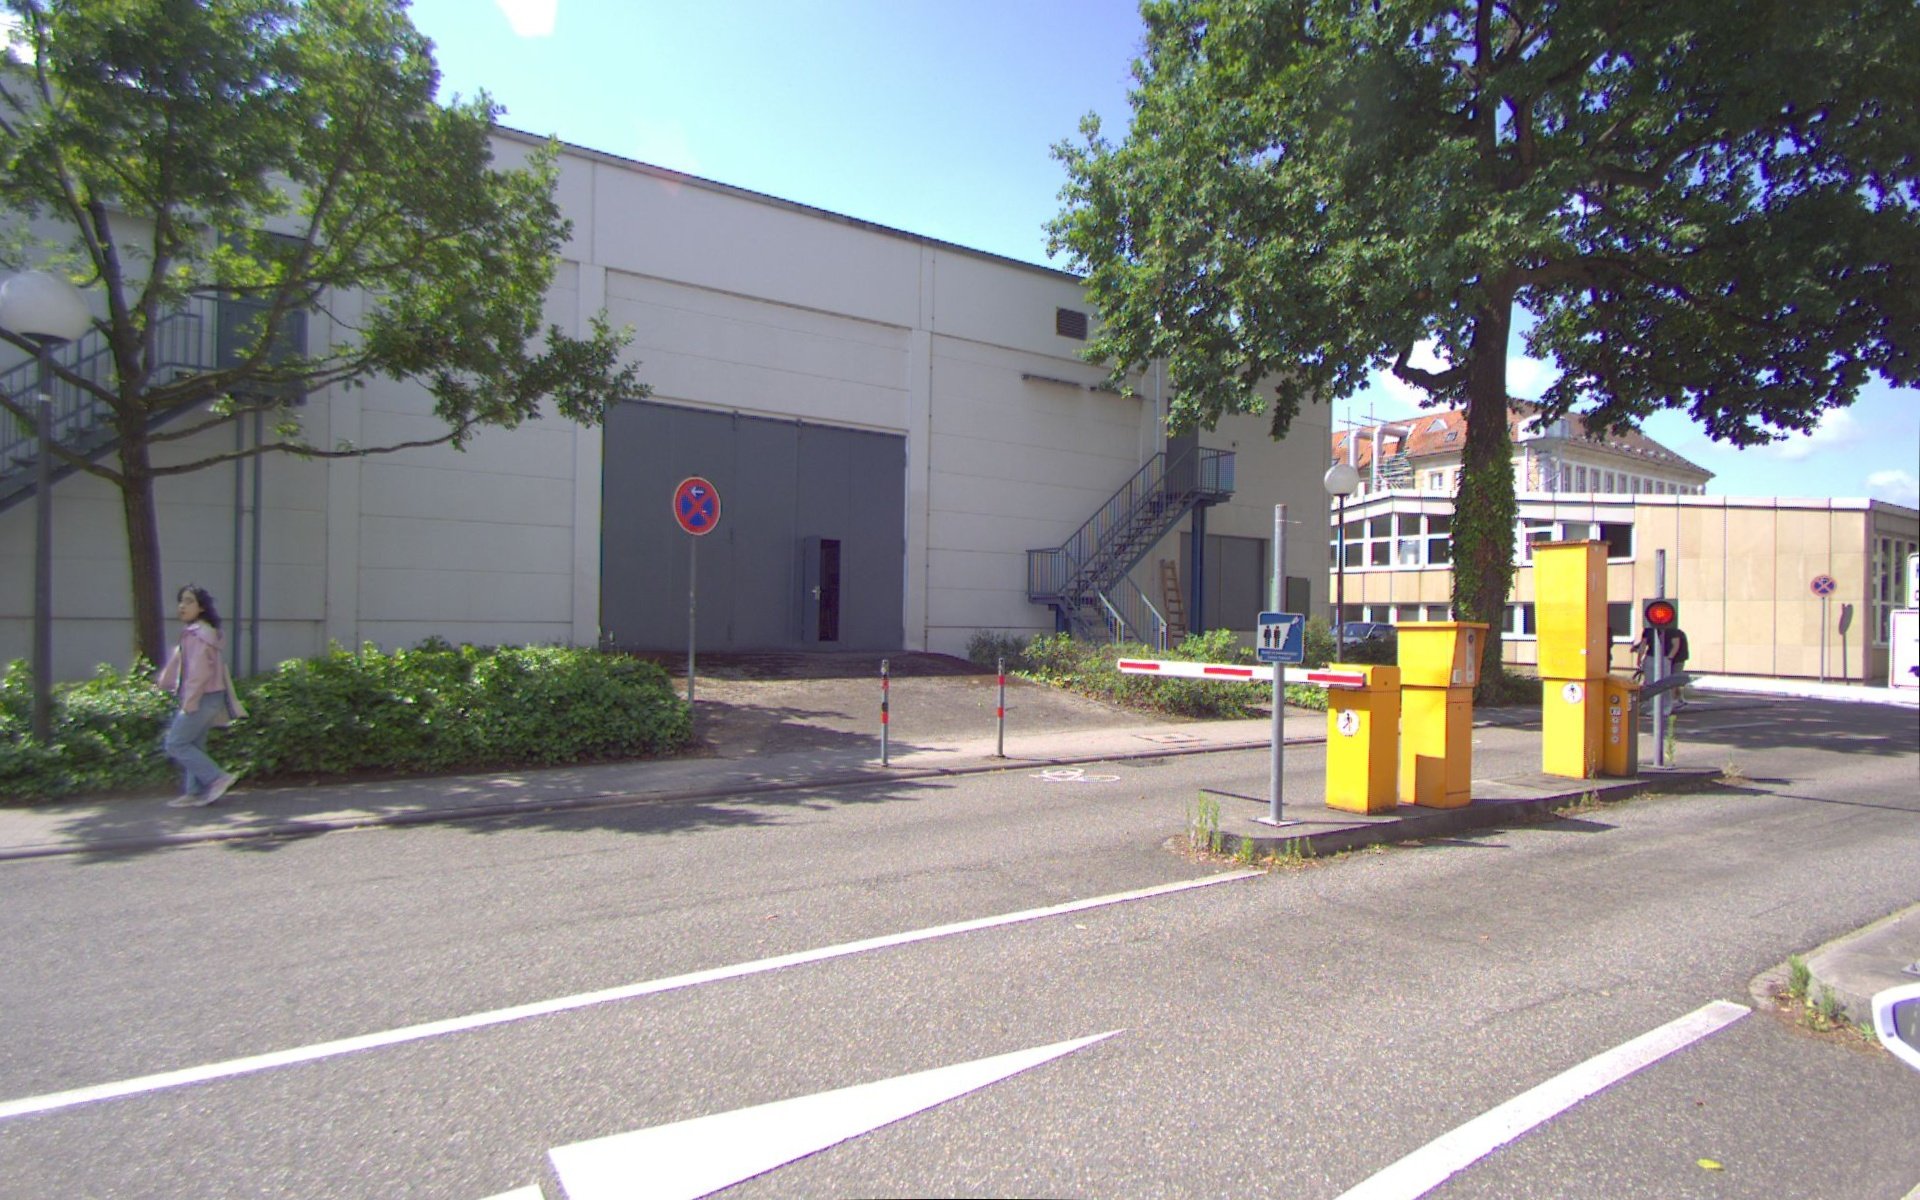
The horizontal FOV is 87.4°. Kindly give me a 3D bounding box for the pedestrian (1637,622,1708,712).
[{"bbox_3d":[13.195,1.212,18.600,0.797,1.607,0.849,1,-1,-34],"label":"pedestrian"}]

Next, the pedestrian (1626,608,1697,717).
[{"bbox_3d":[12.227,1.060,17.511,0.991,1.833,0.701,1,-1,-34],"label":"pedestrian"}]

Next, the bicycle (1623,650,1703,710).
[{"bbox_3d":[13.545,1.520,19.343,1.880,1.063,0.641,1,-1,-34],"label":"bicycle"}]

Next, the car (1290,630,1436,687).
[{"bbox_3d":[11.522,1.624,28.652,4.254,1.486,1.818,1,-1,-34],"label":"car"}]

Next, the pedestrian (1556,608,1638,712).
[{"bbox_3d":[11.754,1.081,18.540,0.798,1.840,1.050,1,-1,-33],"label":"pedestrian"}]

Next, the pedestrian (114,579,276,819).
[{"bbox_3d":[-5.630,0.694,7.448,0.874,1.648,0.709,1,-1,-34],"label":"pedestrian"}]
